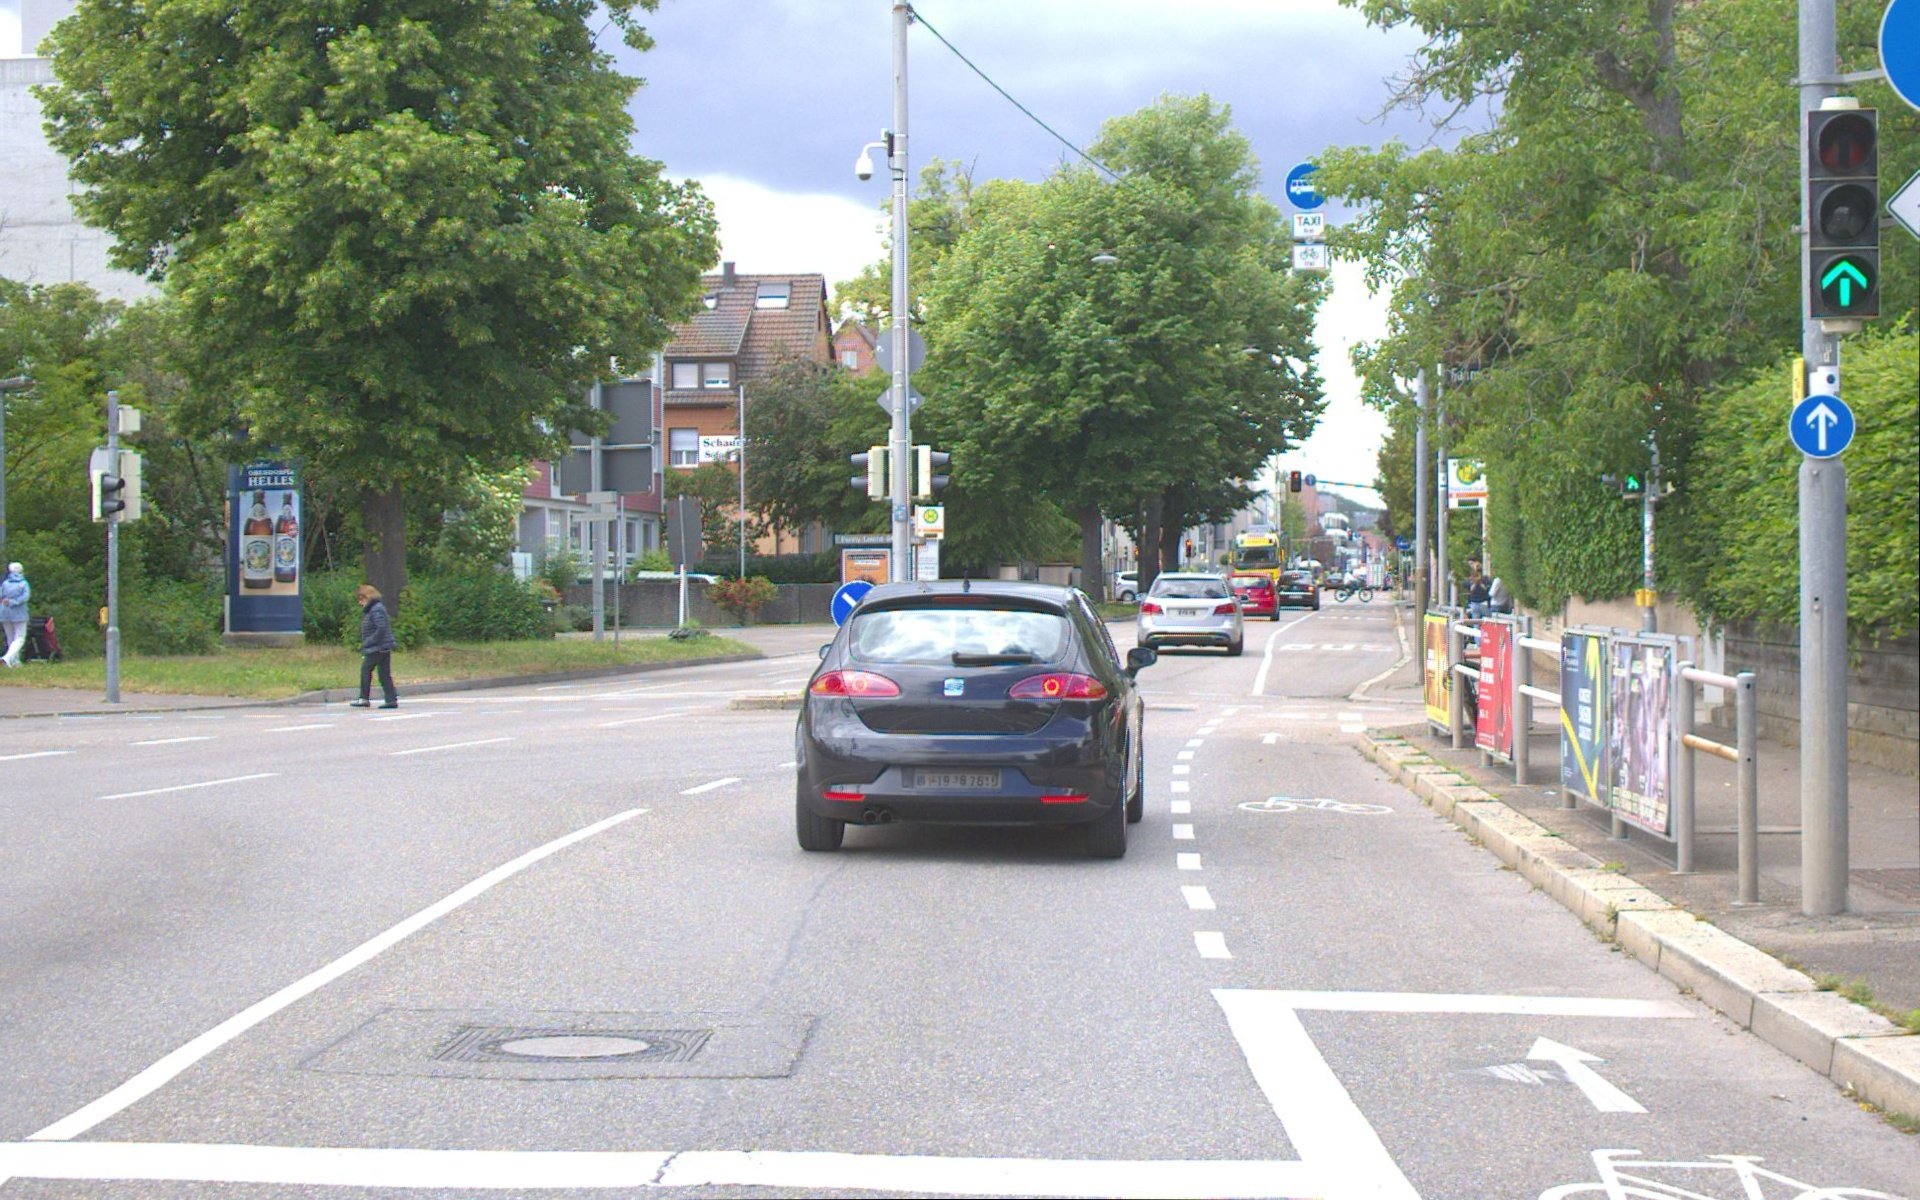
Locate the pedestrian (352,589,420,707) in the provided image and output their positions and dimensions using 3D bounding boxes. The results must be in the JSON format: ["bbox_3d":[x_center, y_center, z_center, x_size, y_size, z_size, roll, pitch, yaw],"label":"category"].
[{"bbox_3d":[-6.935,0.573,41.564,0.773,1.403,0.600,0,0,-6],"label":"pedestrian"}]

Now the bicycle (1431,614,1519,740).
[{"bbox_3d":[4.371,0.639,29.268,0.628,1.025,1.504,0,0,4],"label":"bicycle"}]

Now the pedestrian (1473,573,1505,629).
[{"bbox_3d":[9.447,0.021,61.403,0.454,0.961,0.383,-4,1,1],"label":"pedestrian"}]

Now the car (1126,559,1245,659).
[{"bbox_3d":[4.113,0.133,62.115,1.819,1.693,4.252,-1,1,8],"label":"car"}]

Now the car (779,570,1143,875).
[{"bbox_3d":[0.099,0.595,19.023,1.759,1.444,3.714,2,1,3],"label":"car"}]

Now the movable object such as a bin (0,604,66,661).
[{"bbox_3d":[-13.223,0.459,49.031,0.655,0.795,0.897,0,0,4],"label":"movable object such as a bin"}]

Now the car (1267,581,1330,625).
[{"bbox_3d":[13.279,0.110,134.664,1.994,1.678,3.998,0,0,12],"label":"car"}]

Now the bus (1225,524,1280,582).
[{"bbox_3d":[16.073,-2.571,188.632,2.869,3.125,6.396,0,1,6],"label":"bus"}]

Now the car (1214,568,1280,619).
[{"bbox_3d":[8.766,-0.221,105.113,1.942,1.476,4.252,-1,1,4],"label":"car"}]

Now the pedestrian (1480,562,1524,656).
[{"bbox_3d":[9.168,0.148,58.159,0.543,1.550,0.471,-4,0,-2],"label":"pedestrian"}]

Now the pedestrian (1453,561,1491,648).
[{"bbox_3d":[9.127,0.081,61.300,0.550,1.512,0.361,-3,1,16],"label":"pedestrian"}]

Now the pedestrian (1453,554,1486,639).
[{"bbox_3d":[10.290,-0.072,69.496,0.586,1.706,0.529,-2,0,6],"label":"pedestrian"}]

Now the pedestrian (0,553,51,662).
[{"bbox_3d":[-13.268,0.105,48.343,0.655,1.517,0.923,0,0,4],"label":"pedestrian"}]
